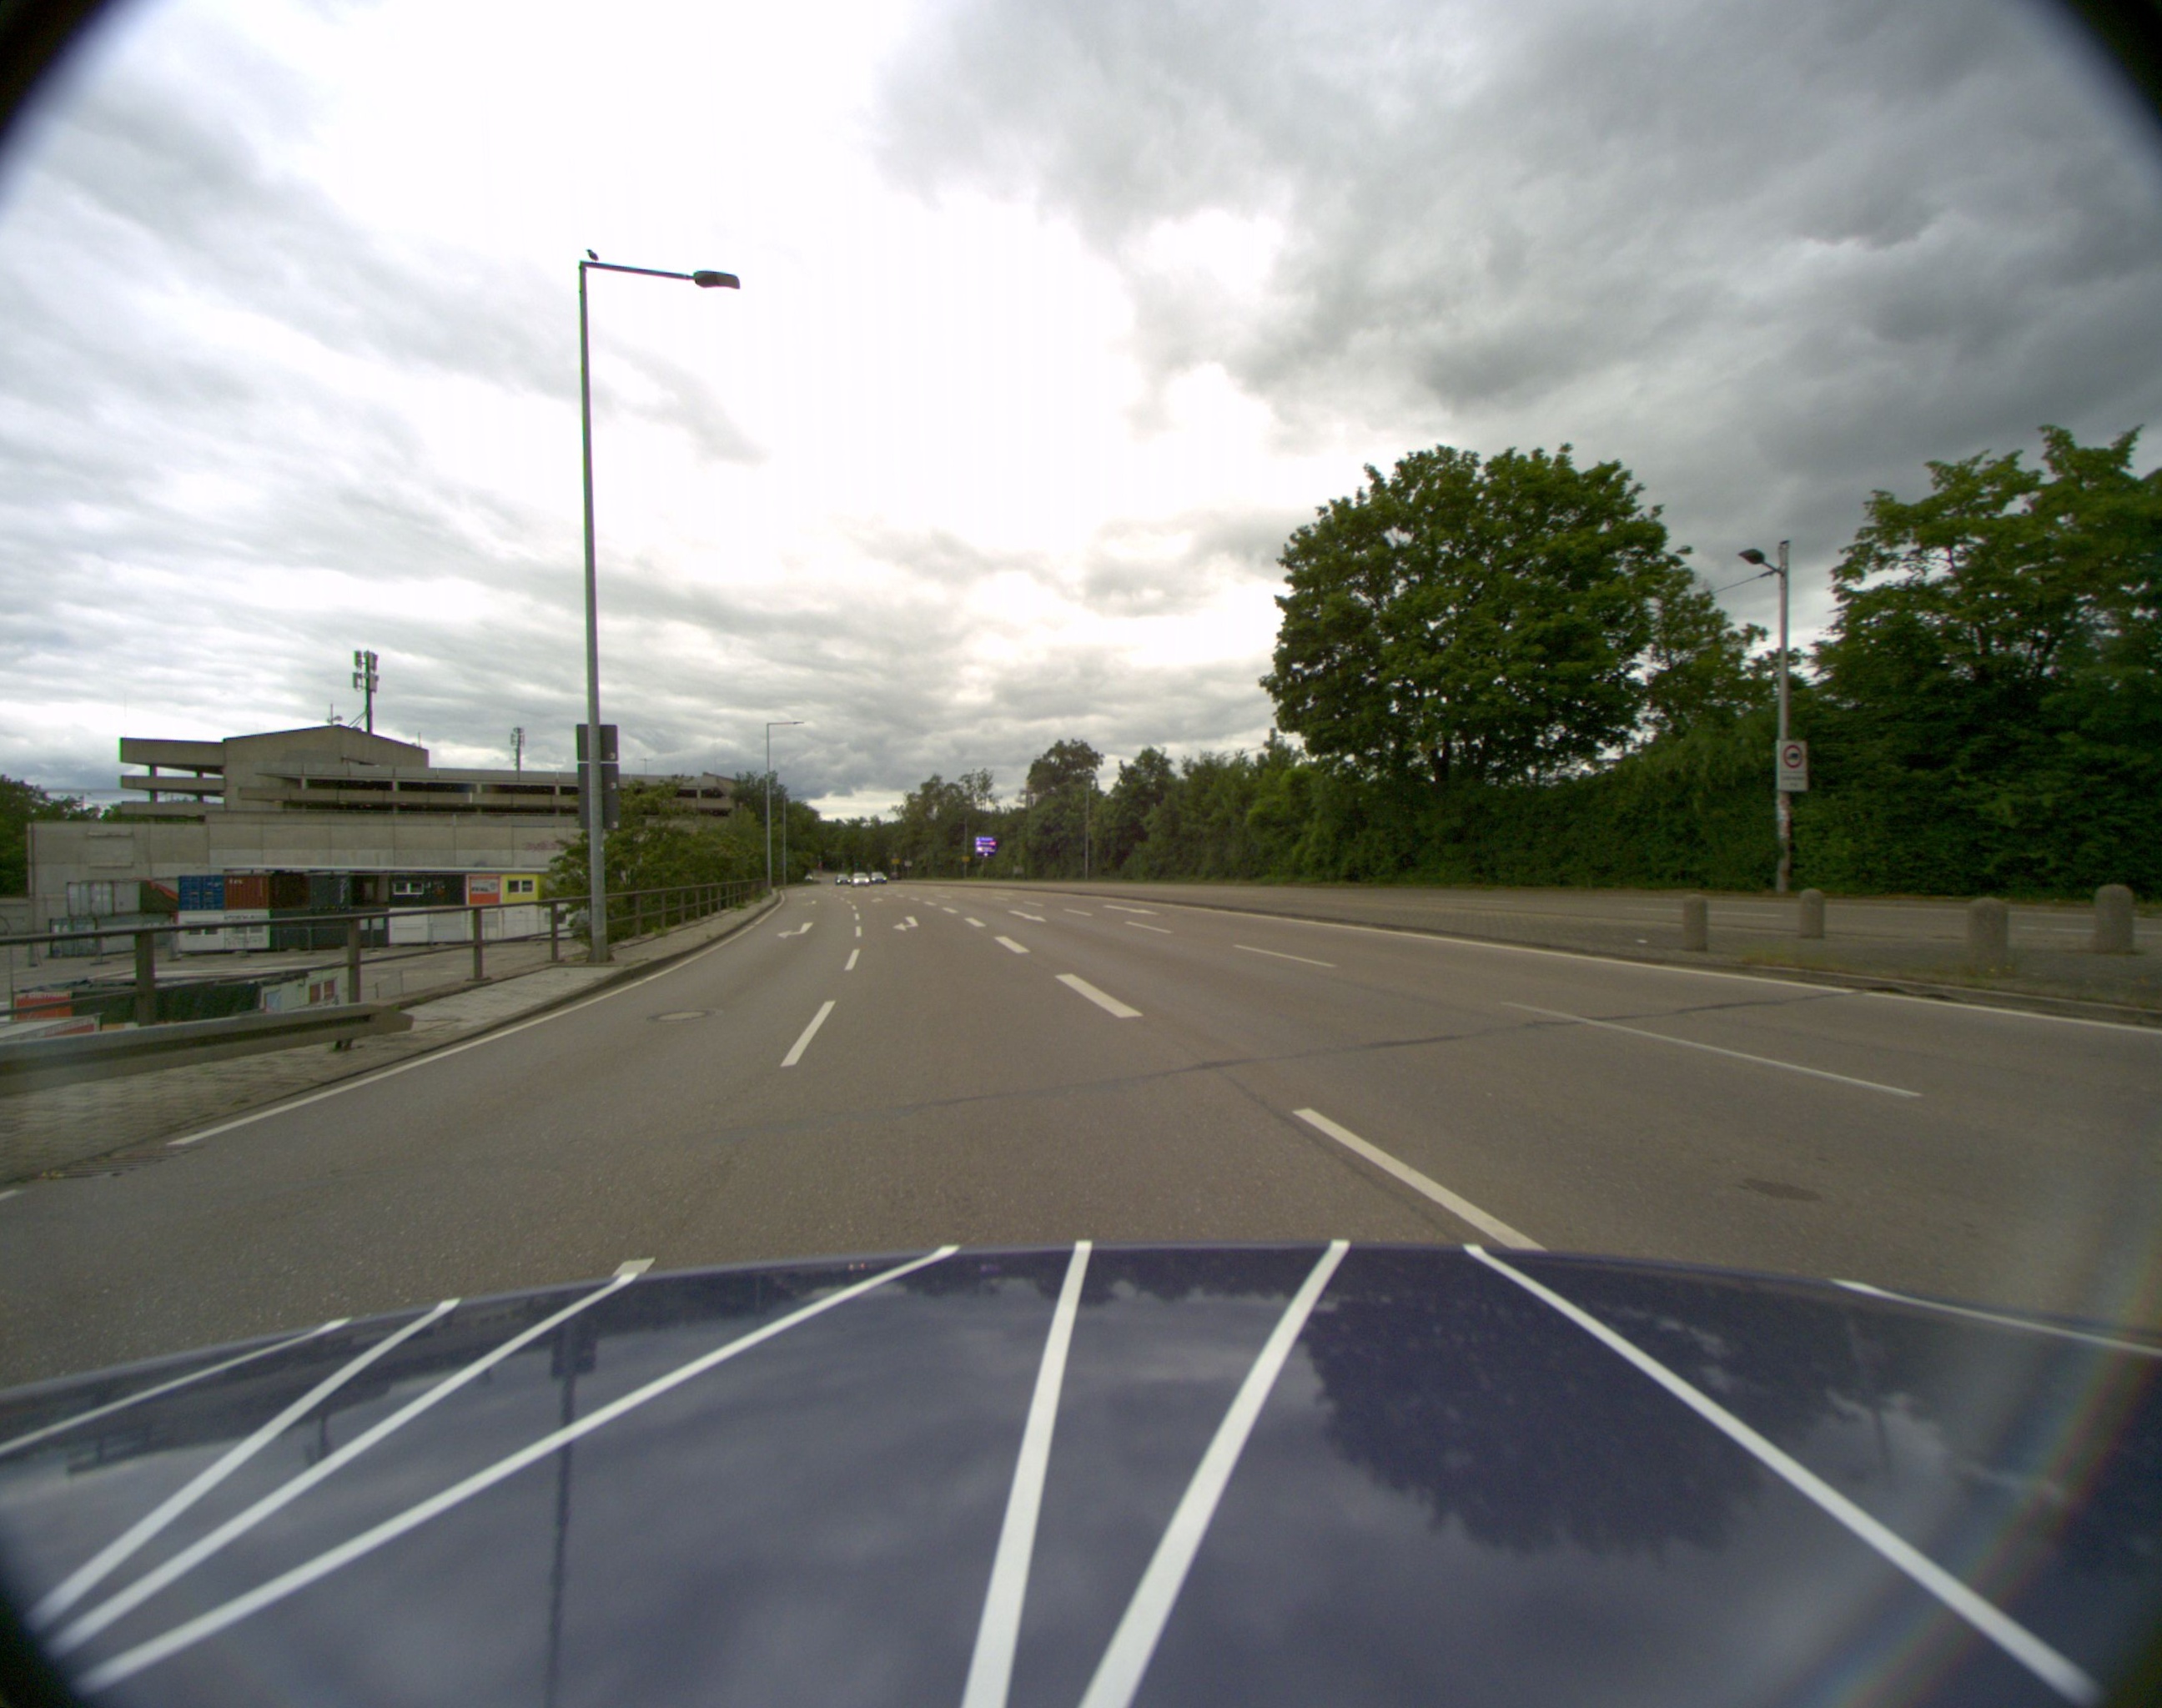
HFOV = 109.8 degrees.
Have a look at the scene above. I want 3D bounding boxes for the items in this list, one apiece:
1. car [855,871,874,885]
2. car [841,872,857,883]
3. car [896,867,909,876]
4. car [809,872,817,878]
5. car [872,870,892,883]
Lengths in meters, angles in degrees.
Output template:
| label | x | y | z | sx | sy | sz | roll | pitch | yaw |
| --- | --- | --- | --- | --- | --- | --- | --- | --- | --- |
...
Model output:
| label | x | y | z | sx | sy | sz | roll | pitch | yaw |
| --- | --- | --- | --- | --- | --- | --- | --- | --- | --- |
| car | -22.842 | 2.493 | 79.988 | 1.612 | 1.408 | 3.585 | -2 | 0 | -20 |
| car | -31.032 | 3.133 | 101.459 | 1.867 | 1.408 | 4.332 | -2 | 0 | -19 |
| car | -31.635 | 3.076 | 134.787 | 1.706 | 1.455 | 3.993 | -3 | 0 | -20 |
| car | -68.219 | 5.257 | 193.219 | 1.868 | 1.408 | 4.331 | -2 | 0 | -21 |
| car | -24.177 | 2.714 | 92.137 | 1.845 | 1.408 | 4.572 | -2 | 0 | -22 |
